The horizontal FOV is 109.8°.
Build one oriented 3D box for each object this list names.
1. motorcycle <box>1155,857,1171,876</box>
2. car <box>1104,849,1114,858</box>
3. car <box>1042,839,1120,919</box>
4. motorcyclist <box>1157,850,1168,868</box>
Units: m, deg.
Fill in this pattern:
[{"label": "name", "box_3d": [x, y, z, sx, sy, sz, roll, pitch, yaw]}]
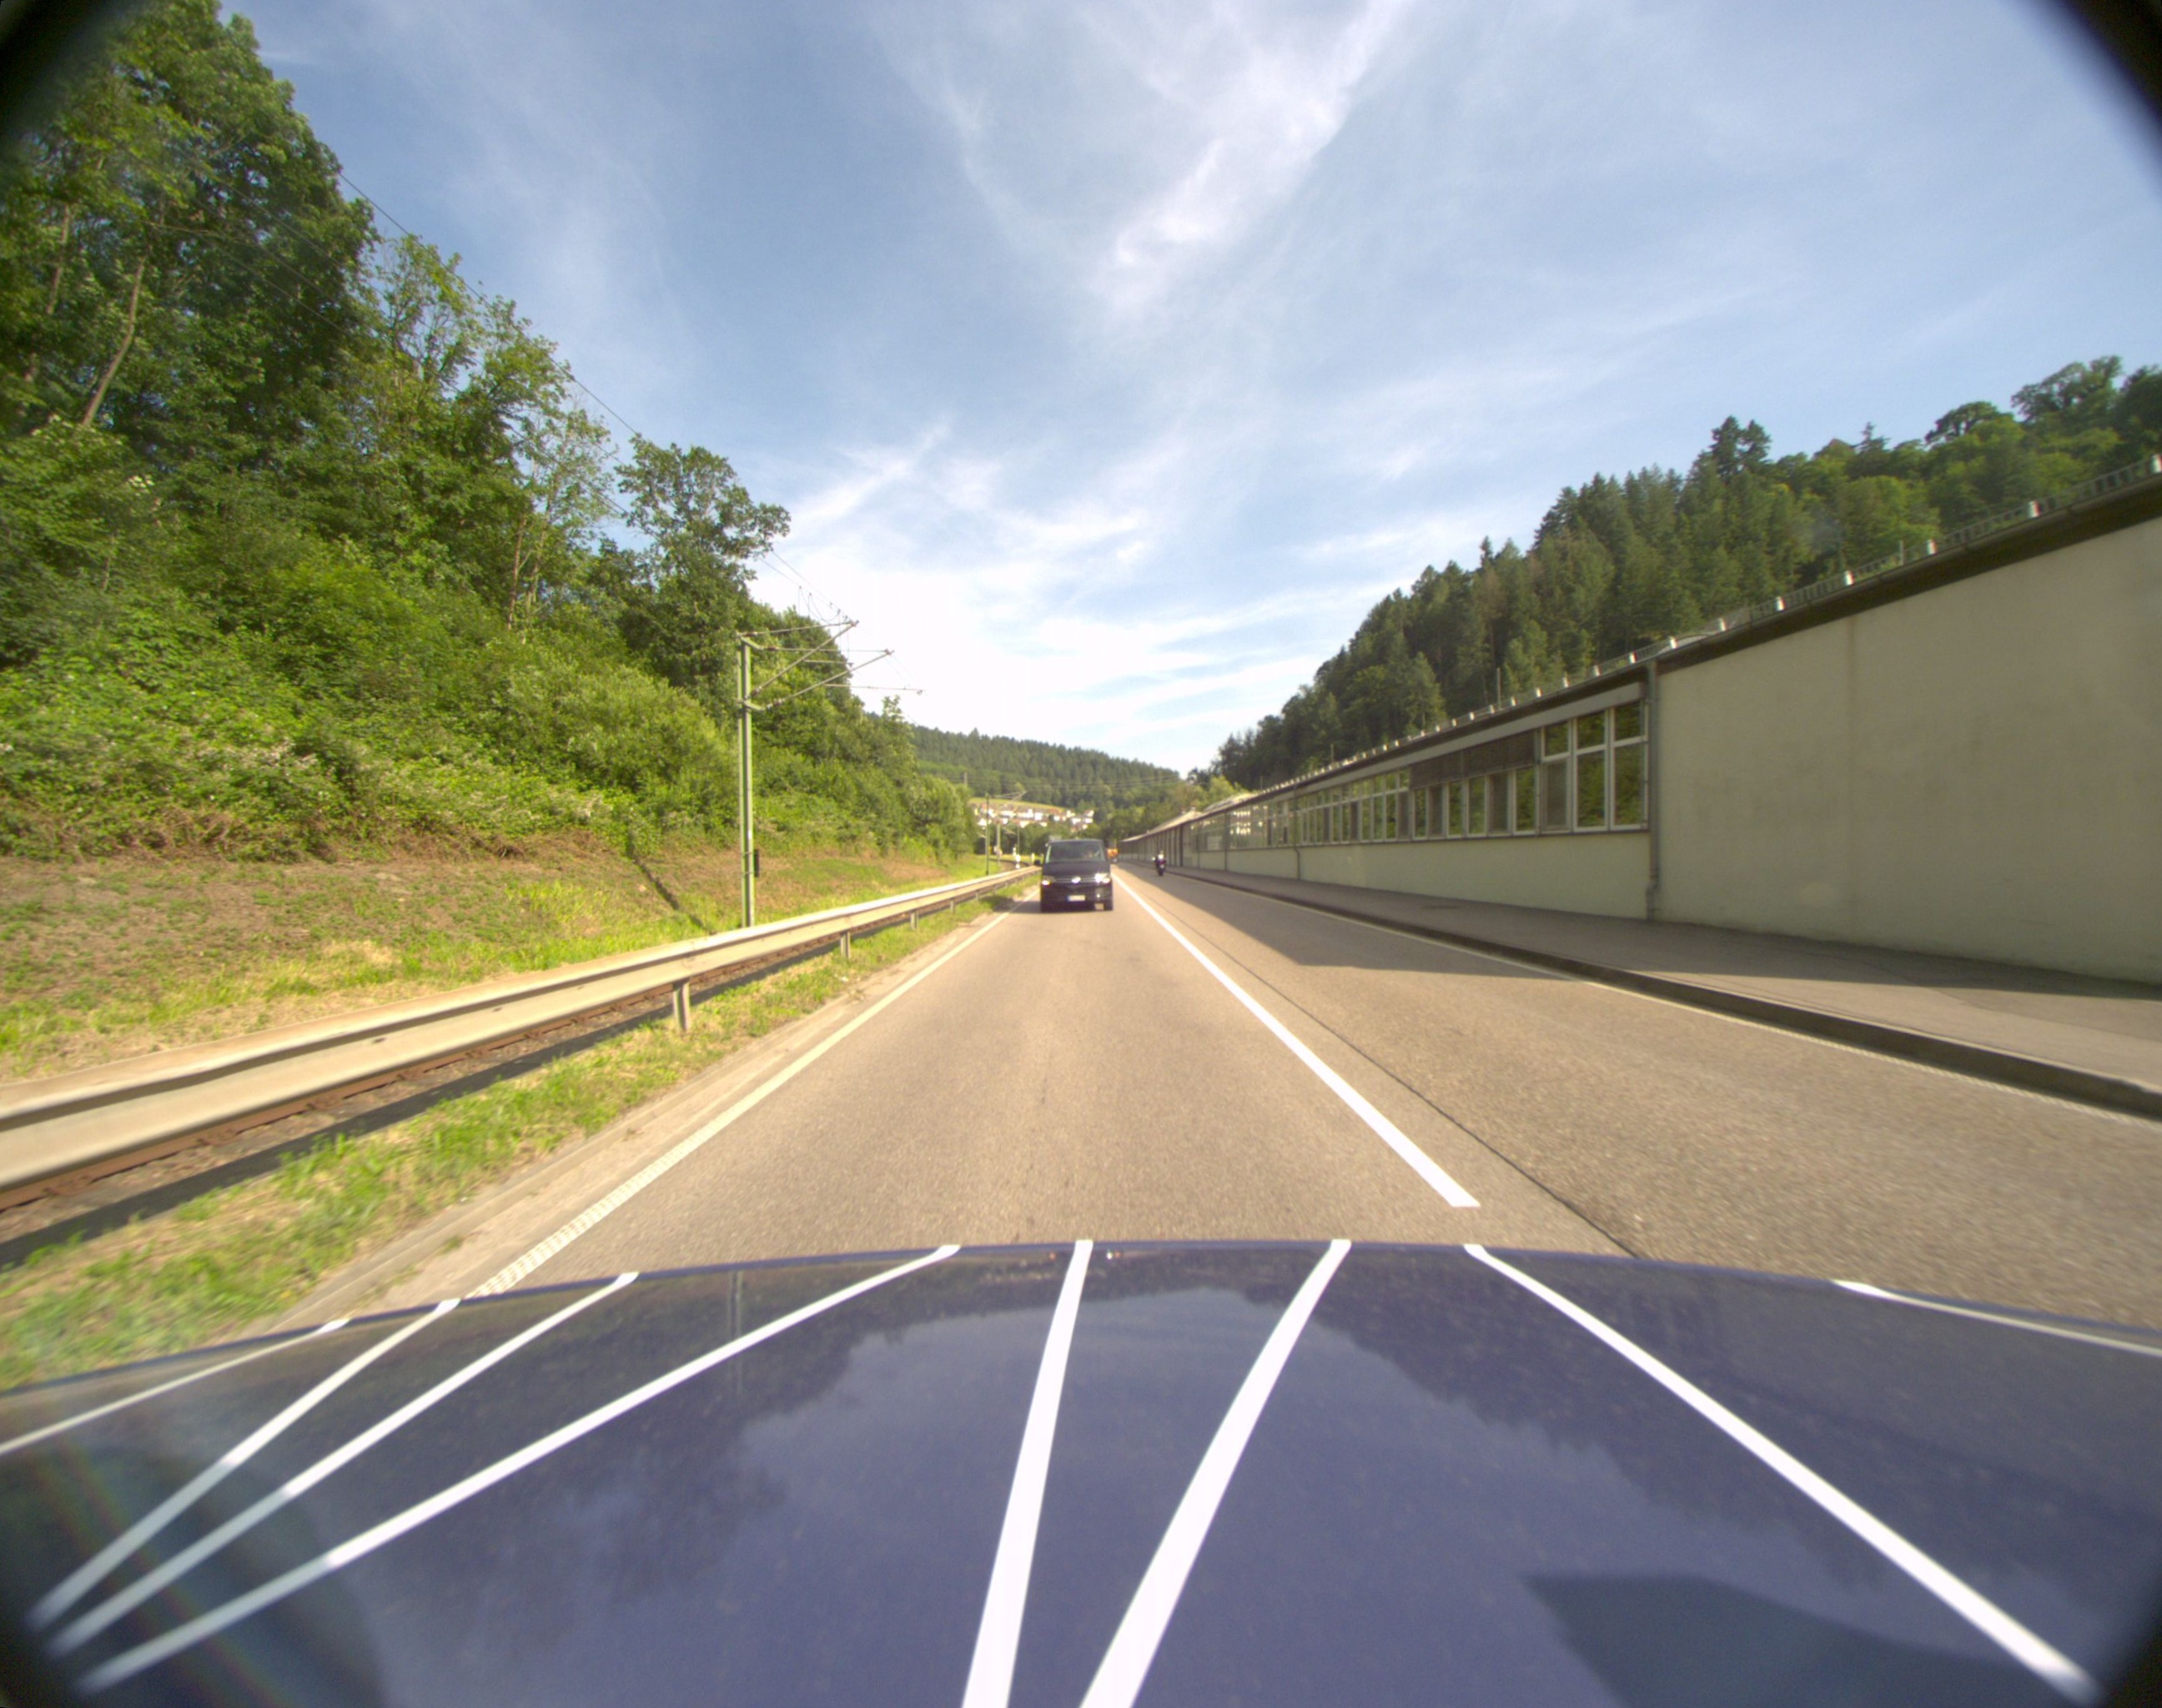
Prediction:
[{"label": "motorcycle", "box_3d": [5.034, 0.736, 46.605, 0.743, 1.062, 2.492, -1, 1, 1]}, {"label": "car", "box_3d": [4.995, -0.039, 135.795, 1.778, 1.482, 4.051, -2, 0, 1]}, {"label": "car", "box_3d": [-0.102, 0.604, 21.500, 1.901, 1.927, 5.187, -2, 0, -2]}, {"label": "motorcyclist", "box_3d": [5.041, 0.302, 46.938, 0.587, 1.118, 0.636, -1, 1, 0]}]
